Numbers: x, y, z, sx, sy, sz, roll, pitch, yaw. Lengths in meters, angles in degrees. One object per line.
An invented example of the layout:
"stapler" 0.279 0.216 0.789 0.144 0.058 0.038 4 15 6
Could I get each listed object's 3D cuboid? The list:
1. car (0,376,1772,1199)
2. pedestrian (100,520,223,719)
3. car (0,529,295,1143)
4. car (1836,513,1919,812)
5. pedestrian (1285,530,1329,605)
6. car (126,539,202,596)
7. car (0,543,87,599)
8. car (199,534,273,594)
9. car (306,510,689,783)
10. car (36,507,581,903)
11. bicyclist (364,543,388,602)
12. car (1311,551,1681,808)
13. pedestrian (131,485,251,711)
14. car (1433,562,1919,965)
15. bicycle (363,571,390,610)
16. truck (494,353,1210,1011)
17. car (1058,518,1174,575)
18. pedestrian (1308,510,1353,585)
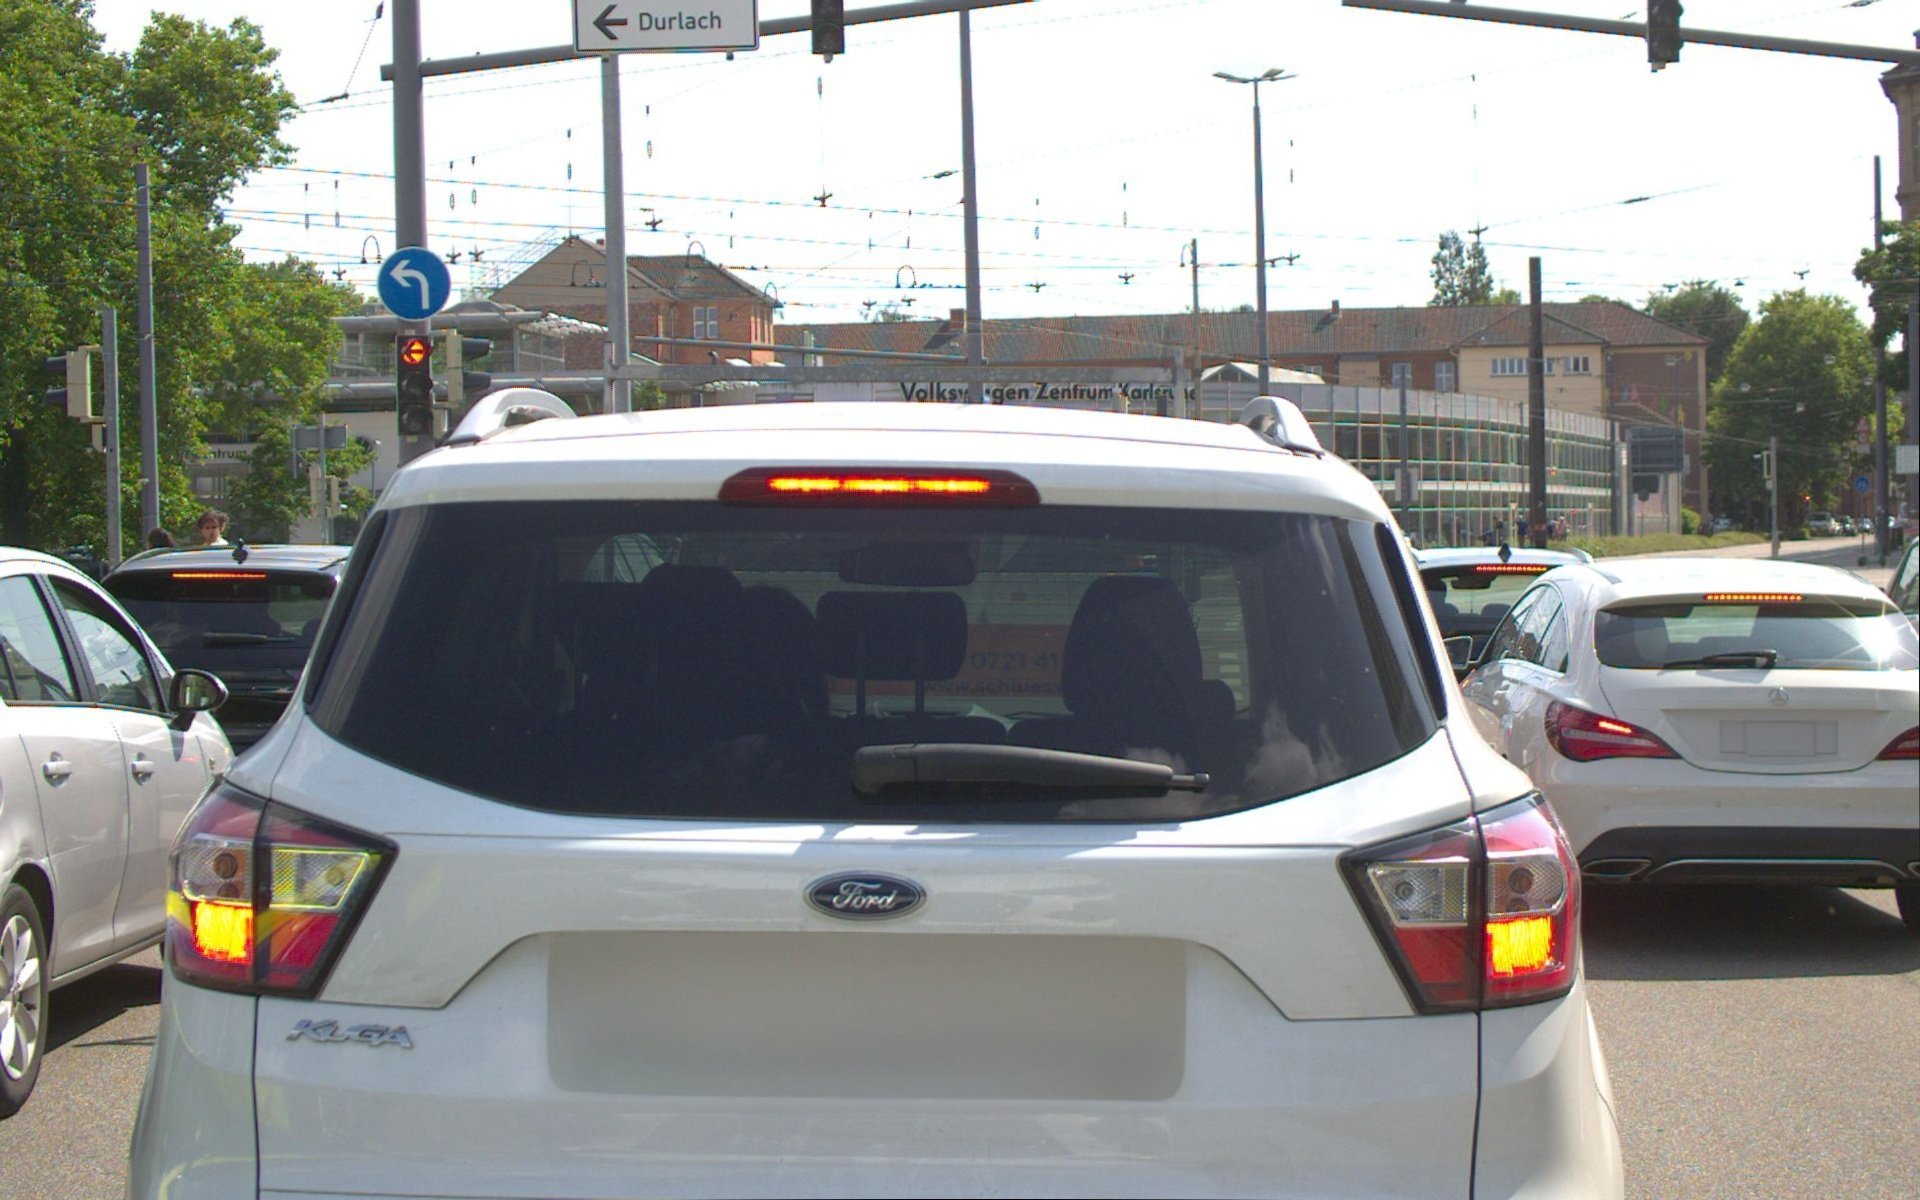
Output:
"car" -0.016 0.579 5.399 1.827 1.658 3.955 0 1 3
"pedestrian" -6.720 0.160 28.963 0.847 1.642 0.692 -1 0 -1
"car" -3.252 0.548 10.081 1.848 1.469 4.000 -1 1 -1
"car" 6.301 0.337 19.841 1.837 1.646 3.999 0 0 6
"pedestrian" 8.161 -0.769 80.817 0.589 1.738 0.924 1 1 42
"car" -28.669 -1.147 123.906 1.967 1.930 4.231 -3 0 -5
"car" -33.344 -1.032 124.920 1.967 1.930 5.069 -3 0 -1
"car" -26.009 -1.275 123.650 1.993 2.007 4.231 -3 0 -5
"car" -2.849 0.233 22.133 2.039 1.573 4.540 0 1 -2
"car" -2.858 0.376 16.048 1.762 1.563 4.527 -1 1 -1
"bicyclist" -17.385 -0.828 102.388 0.637 1.732 0.662 0 1 -5
"car" 3.146 0.414 20.828 1.850 1.414 3.679 0 1 3
"pedestrian" -6.651 -0.022 29.767 0.847 1.910 0.692 -1 0 -1
"car" 3.013 0.558 14.027 1.850 1.414 3.679 0 1 3
"bicycle" -17.399 -0.287 102.519 0.637 1.121 1.785 -1 2 -5
"truck" -0.320 0.213 14.160 2.339 2.148 5.852 0 1 1
"car" 4.281 -1.473 93.694 1.901 1.456 3.964 -2 1 22
"pedestrian" 8.651 -1.219 80.213 0.589 1.738 0.924 1 1 43
